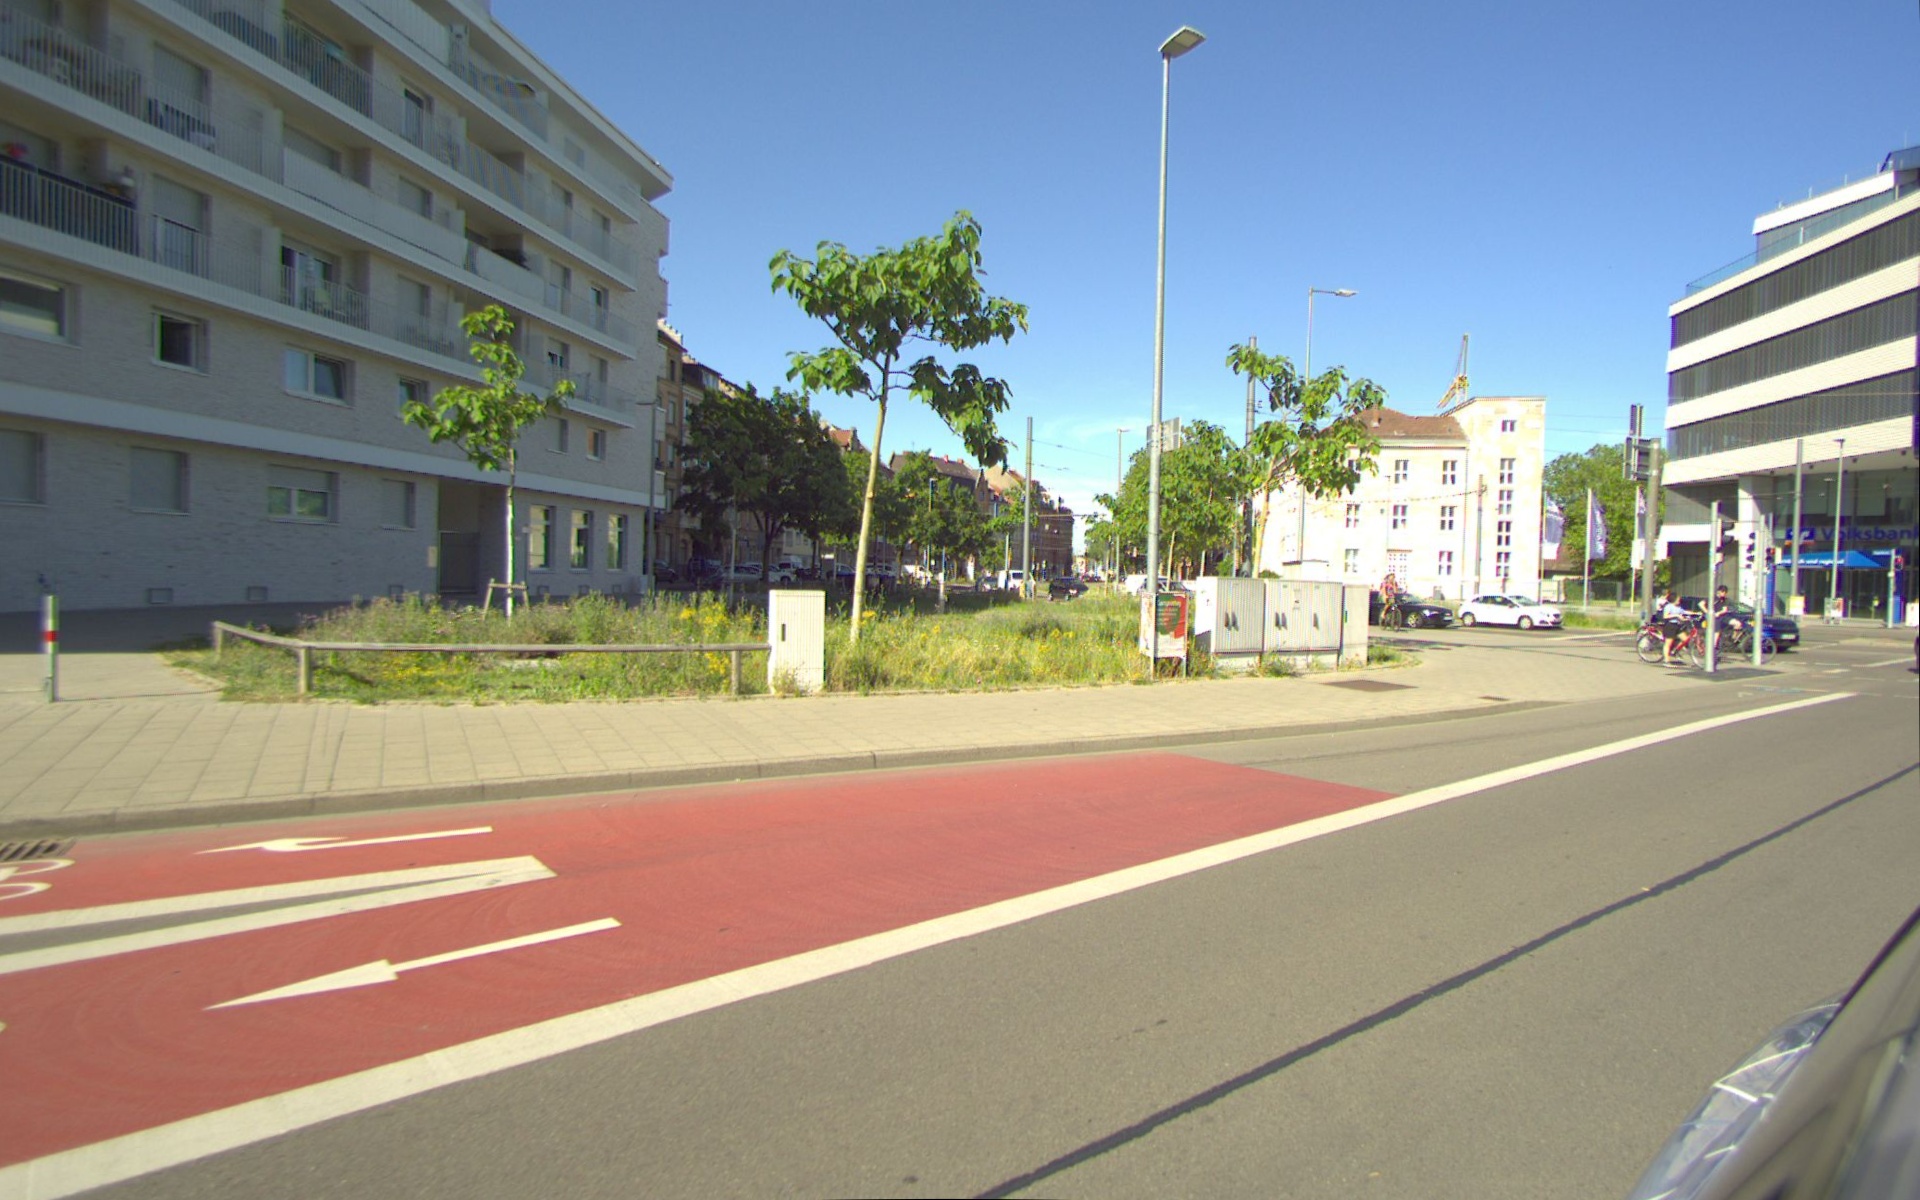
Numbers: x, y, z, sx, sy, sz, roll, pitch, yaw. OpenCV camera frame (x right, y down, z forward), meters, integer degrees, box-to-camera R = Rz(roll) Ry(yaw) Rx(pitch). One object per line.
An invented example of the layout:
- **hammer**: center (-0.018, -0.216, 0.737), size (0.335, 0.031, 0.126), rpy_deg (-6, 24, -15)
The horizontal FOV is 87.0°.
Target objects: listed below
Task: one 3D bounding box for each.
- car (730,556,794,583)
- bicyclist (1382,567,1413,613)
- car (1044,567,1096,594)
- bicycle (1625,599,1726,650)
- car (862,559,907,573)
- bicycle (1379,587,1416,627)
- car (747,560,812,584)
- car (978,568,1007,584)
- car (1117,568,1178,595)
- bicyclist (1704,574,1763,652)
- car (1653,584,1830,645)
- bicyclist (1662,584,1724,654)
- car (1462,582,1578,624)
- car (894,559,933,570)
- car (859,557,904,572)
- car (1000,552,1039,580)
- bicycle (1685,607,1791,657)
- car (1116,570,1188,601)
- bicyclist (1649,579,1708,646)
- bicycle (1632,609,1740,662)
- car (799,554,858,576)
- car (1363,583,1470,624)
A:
- **car**: center (-13.685, -2.106, 69.777), size (3.918, 1.682, 2.004), rpy_deg (1, 2, -27)
- **bicyclist**: center (13.772, -0.328, 31.902), size (0.687, 1.394, 0.735), rpy_deg (4, 2, 15)
- **car**: center (7.097, -1.284, 65.524), size (1.835, 1.575, 4.010), rpy_deg (1, 2, -18)
- **bicycle**: center (18.984, 0.637, 26.906), size (0.682, 1.118, 2.016), rpy_deg (4, 3, -27)
- **car**: center (-7.744, -3.523, 103.924), size (4.308, 1.249, 2.005), rpy_deg (1, 2, -16)
- **bicycle**: center (13.672, 0.205, 31.692), size (0.687, 1.118, 2.002), rpy_deg (4, 2, 15)
- **car**: center (-12.131, -1.912, 67.964), size (3.918, 1.482, 2.004), rpy_deg (1, 2, -27)
- **car**: center (2.684, -2.018, 84.469), size (1.837, 1.286, 4.661), rpy_deg (2, 2, -5)
- **car**: center (11.789, -1.179, 63.743), size (1.836, 1.575, 4.009), rpy_deg (1, 2, -23)
- **bicyclist**: center (18.900, 0.307, 24.733), size (0.539, 1.820, 0.907), rpy_deg (2, 2, -33)
- **car**: center (23.403, 0.387, 30.515), size (1.836, 1.575, 4.008), rpy_deg (1, 2, -9)
- **bicyclist**: center (15.637, 0.393, 21.591), size (0.578, 1.421, 0.829), rpy_deg (2, 2, -28)
- **car**: center (22.730, 0.089, 41.206), size (1.636, 1.448, 3.842), rpy_deg (-3, 4, -28)
- **car**: center (-5.652, -4.367, 123.947), size (4.310, 1.225, 2.004), rpy_deg (1, 2, -27)
- **car**: center (-8.267, -3.750, 106.746), size (4.308, 1.479, 2.005), rpy_deg (1, 2, -16)
- **car**: center (4.372, -2.531, 75.105), size (1.836, 2.006, 4.664), rpy_deg (1, 2, -10)
- **bicycle**: center (18.925, 0.760, 24.664), size (0.594, 1.050, 1.898), rpy_deg (2, 3, -33)
- **car**: center (10.710, -0.843, 56.783), size (1.836, 1.575, 4.007), rpy_deg (1, 2, -27)
- **bicyclist**: center (19.039, 0.321, 26.835), size (0.583, 1.674, 1.006), rpy_deg (2, 3, -27)
- **bicycle**: center (15.529, 0.746, 21.693), size (0.682, 0.966, 1.711), rpy_deg (2, 3, -28)
- **car**: center (-11.419, -3.011, 88.014), size (4.695, 1.793, 1.735), rpy_deg (1, 2, -27)
- **car**: center (18.584, 0.113, 41.353), size (1.553, 1.451, 3.845), rpy_deg (1, 2, -25)
